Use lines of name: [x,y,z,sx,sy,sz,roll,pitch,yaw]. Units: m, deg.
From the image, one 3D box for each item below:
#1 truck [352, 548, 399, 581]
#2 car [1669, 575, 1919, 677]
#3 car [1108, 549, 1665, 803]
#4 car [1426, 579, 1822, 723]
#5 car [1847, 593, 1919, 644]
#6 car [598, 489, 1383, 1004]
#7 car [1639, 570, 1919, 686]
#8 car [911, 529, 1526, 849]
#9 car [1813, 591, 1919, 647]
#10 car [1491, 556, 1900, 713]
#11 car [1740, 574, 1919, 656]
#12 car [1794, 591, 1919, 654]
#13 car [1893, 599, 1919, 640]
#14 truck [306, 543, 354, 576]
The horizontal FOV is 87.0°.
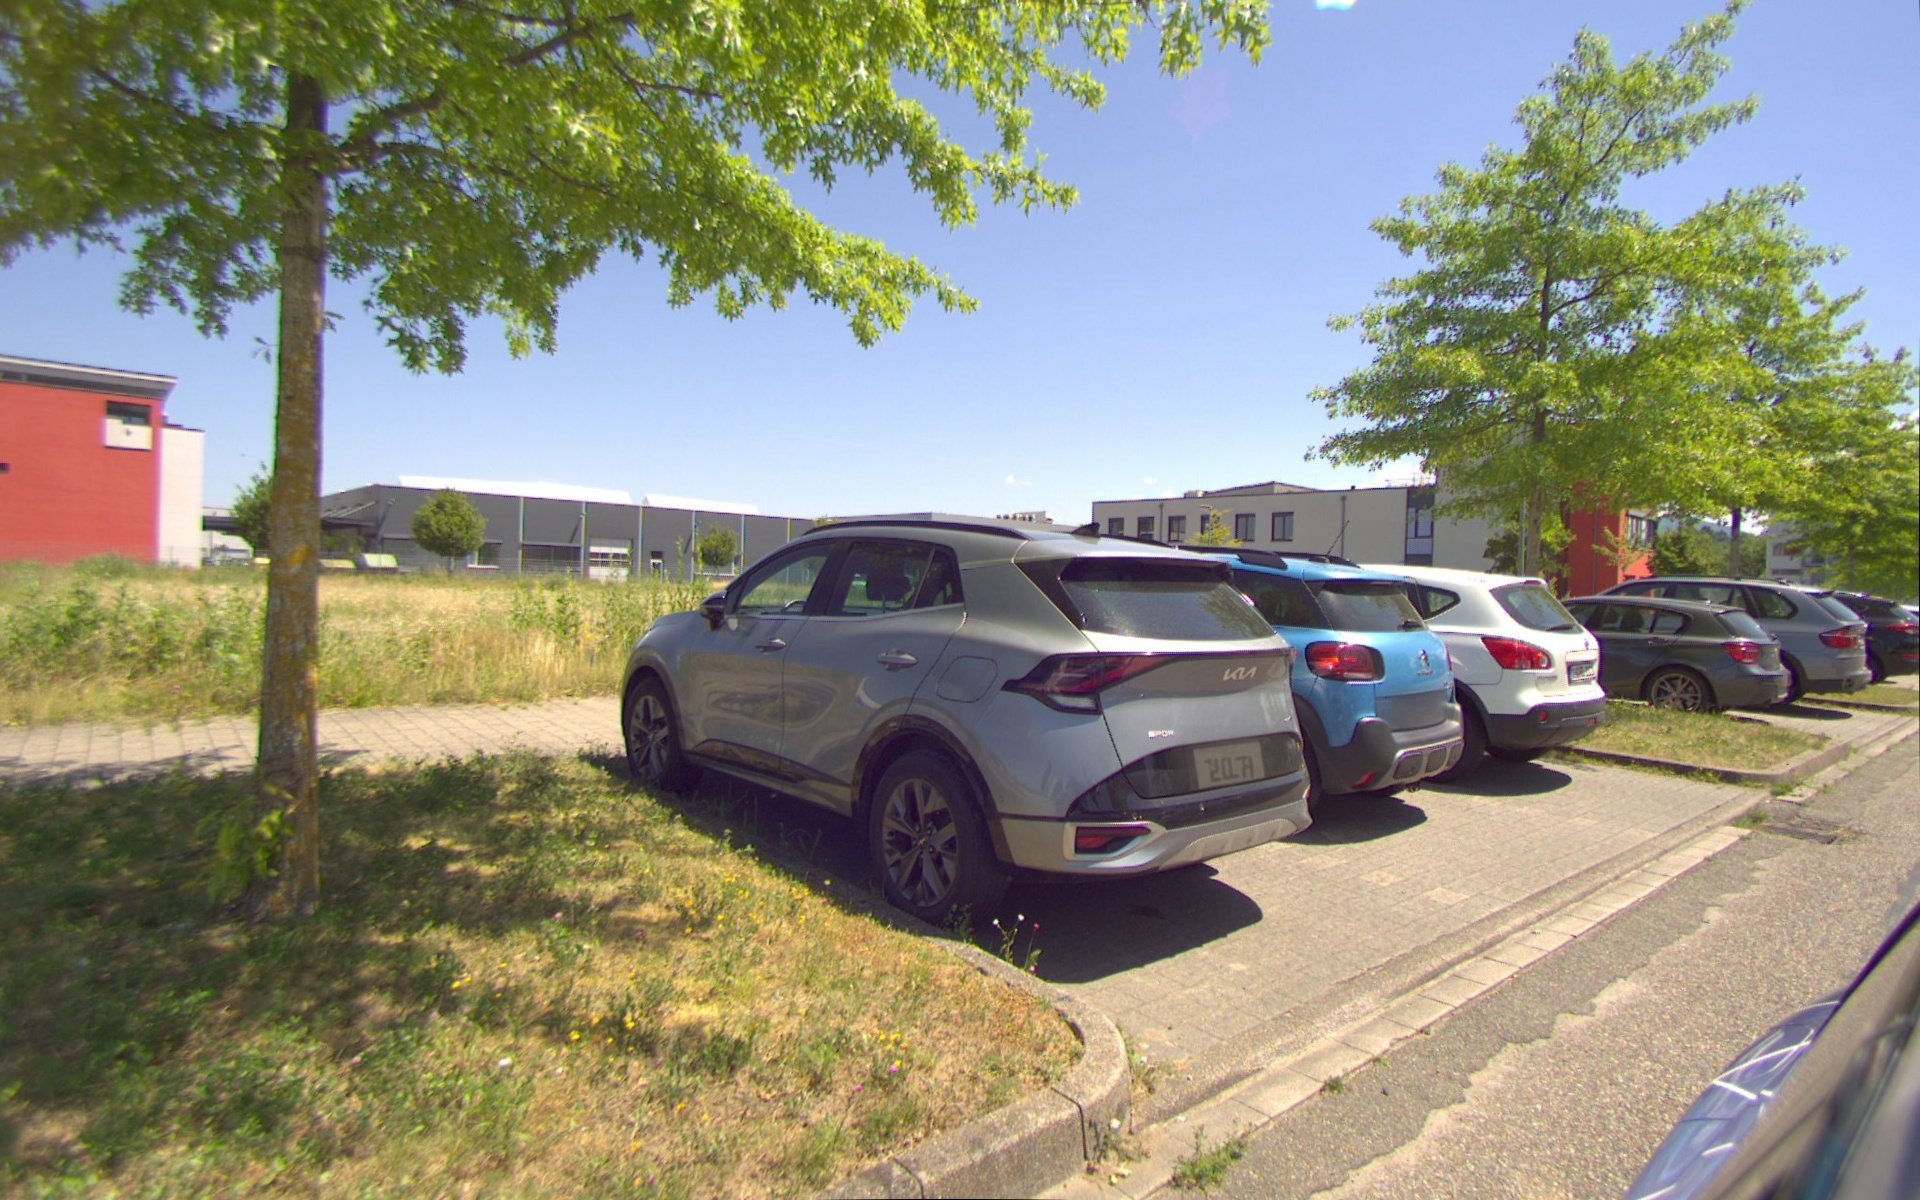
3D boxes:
truck: [-39.030,-2.388,67.487,1.965,2.038,3.995,1,2,-41]
car: [17.027,0.449,20.593,1.750,1.698,3.885,1,3,-40]
car: [3.487,0.426,8.907,1.867,1.627,4.078,0,3,-40]
car: [8.490,0.517,13.204,1.876,1.426,3.931,-1,3,-40]
car: [33.878,0.707,35.366,1.663,1.645,4.057,1,3,-40]
car: [-0.252,0.346,5.483,1.818,1.664,4.290,1,3,-40]
car: [15.147,0.433,18.502,1.751,1.717,4.182,1,3,-41]
car: [1.608,0.369,7.401,1.806,1.664,3.995,1,3,-41]
car: [30.212,0.651,32.000,1.882,1.580,4.722,1,3,-44]
car: [10.515,0.368,14.752,1.959,1.790,4.457,1,3,-42]
car: [23.292,0.368,26.306,1.763,1.852,4.415,1,3,-39]
car: [25.469,0.622,27.795,1.646,1.521,3.641,1,3,-39]
car: [39.374,0.886,39.635,1.745,1.572,3.848,2,1,-35]
truck: [-40.754,-2.635,65.438,1.965,2.038,4.351,1,2,-41]
